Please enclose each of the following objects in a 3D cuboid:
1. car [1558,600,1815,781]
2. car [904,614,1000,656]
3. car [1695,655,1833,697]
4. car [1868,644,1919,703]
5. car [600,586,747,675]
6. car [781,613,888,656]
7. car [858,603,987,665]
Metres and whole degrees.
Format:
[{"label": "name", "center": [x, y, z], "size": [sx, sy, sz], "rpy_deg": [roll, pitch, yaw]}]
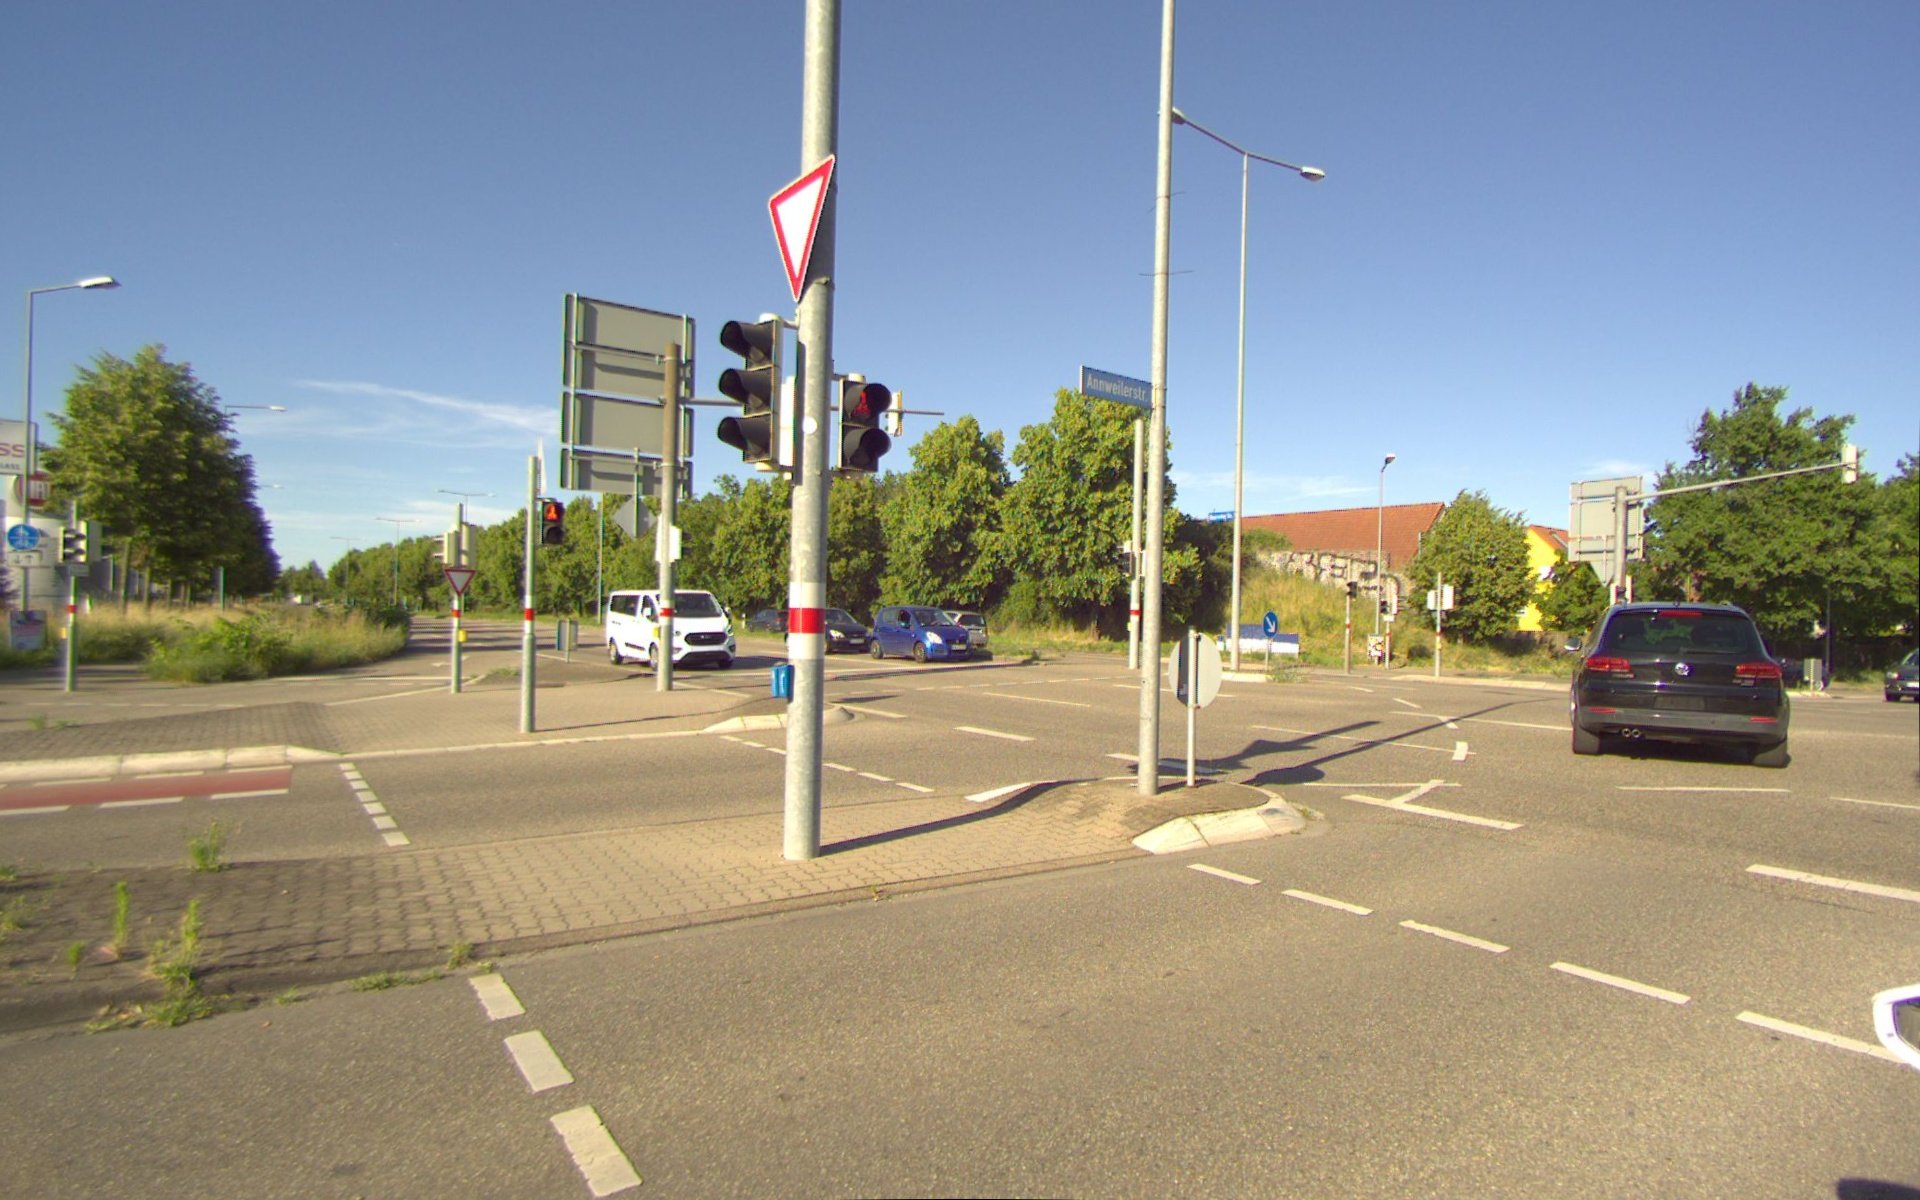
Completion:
[{"label": "car", "center": [8.277, 0.831, 11.301], "size": [1.807, 1.649, 3.976], "rpy_deg": [1, 1, 44]}, {"label": "car", "center": [-0.388, 1.457, 43.102], "size": [2.027, 1.638, 4.375], "rpy_deg": [0, 0, -35]}, {"label": "car", "center": [30.820, 2.909, 38.501], "size": [4.613, 1.326, 2.039], "rpy_deg": [4, -2, -20]}, {"label": "car", "center": [29.179, 2.198, 29.989], "size": [4.481, 1.665, 1.982], "rpy_deg": [3, -2, -32]}, {"label": "car", "center": [-7.515, 0.717, 25.948], "size": [2.028, 2.040, 5.222], "rpy_deg": [0, 0, -36]}, {"label": "car", "center": [-4.205, 1.103, 33.201], "size": [1.875, 1.292, 3.999], "rpy_deg": [0, 0, -36]}, {"label": "car", "center": [-1.153, 0.924, 29.027], "size": [1.875, 1.666, 3.999], "rpy_deg": [0, 0, -36]}]
